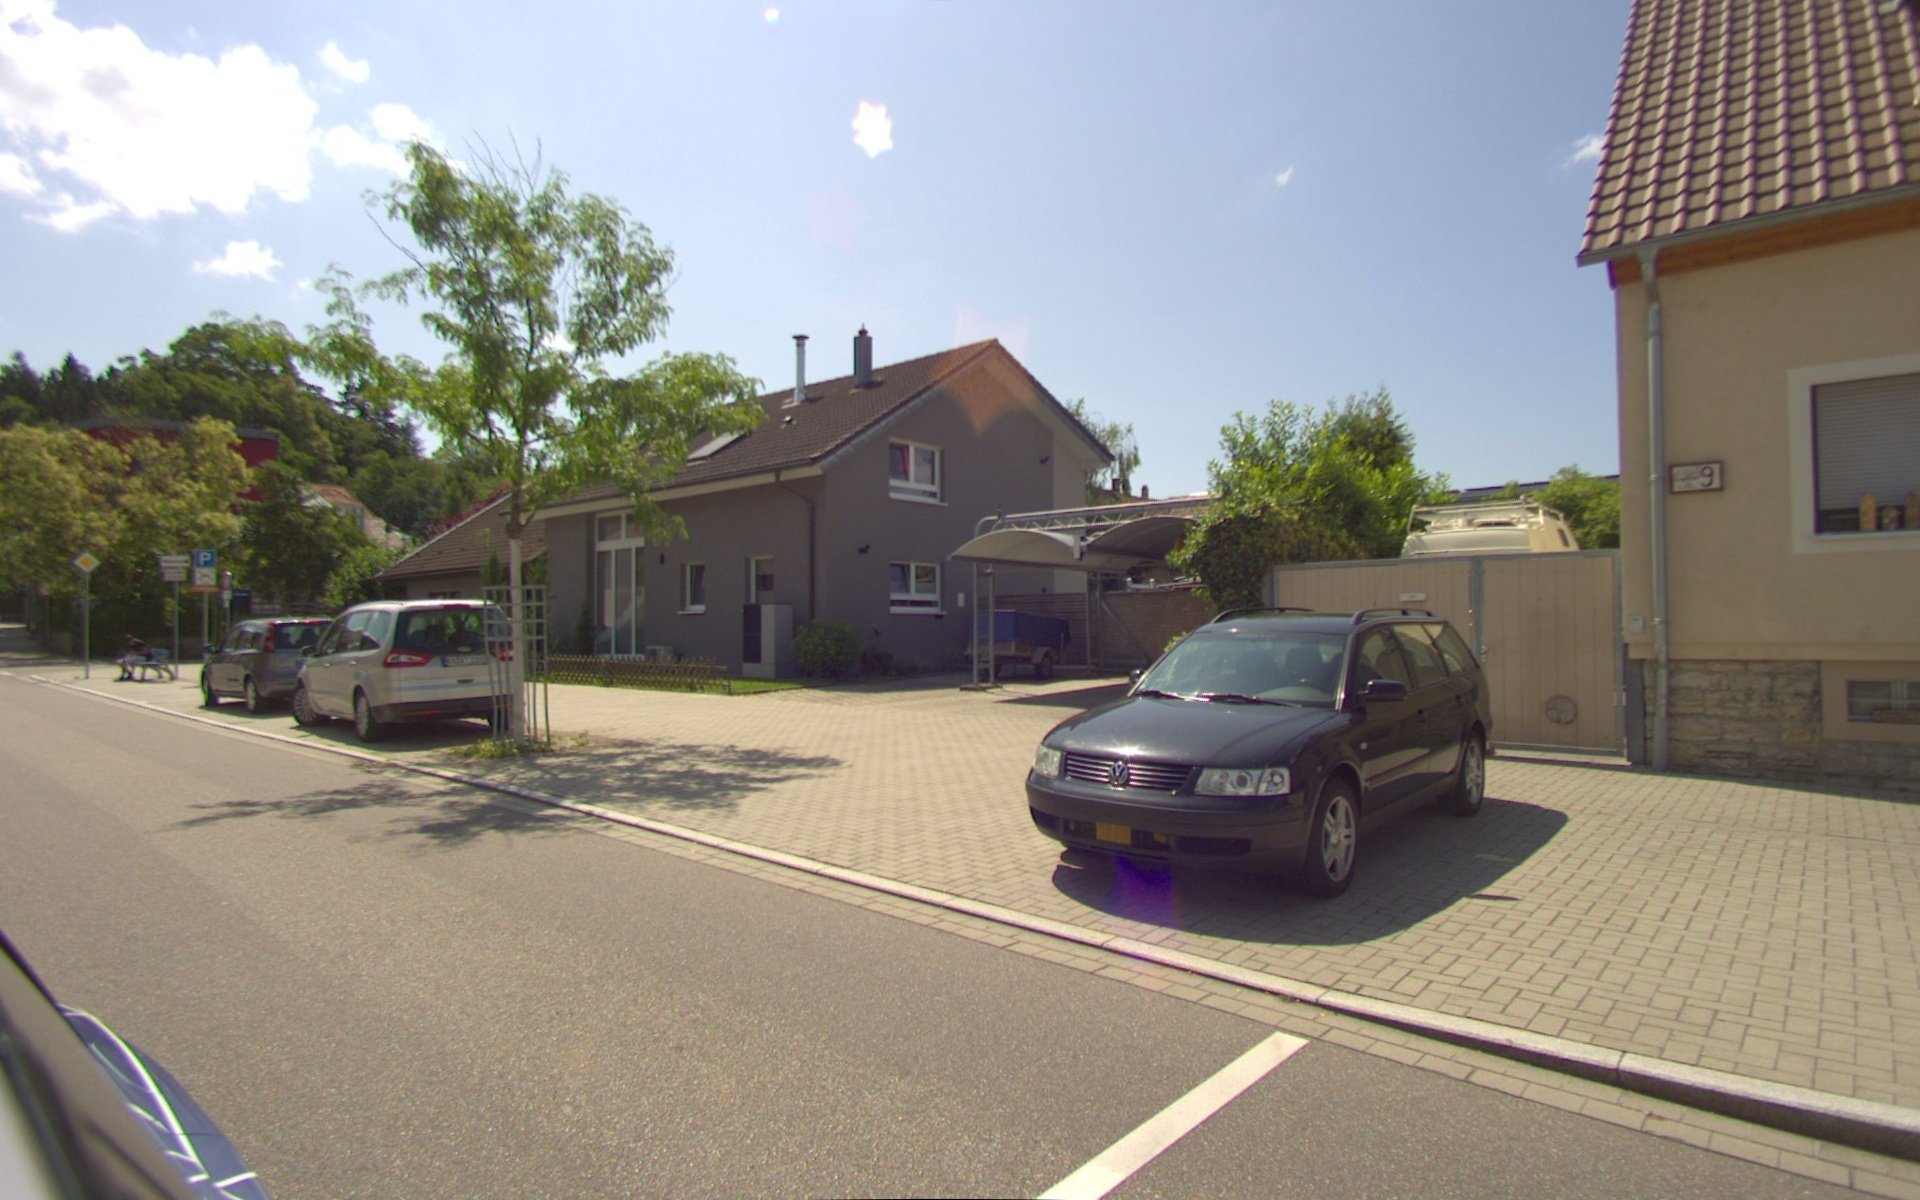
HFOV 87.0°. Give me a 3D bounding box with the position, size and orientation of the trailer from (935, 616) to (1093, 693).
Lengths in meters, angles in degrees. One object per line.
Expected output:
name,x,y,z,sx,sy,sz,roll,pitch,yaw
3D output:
trailer,1.194,1.055,20.842,1.582,1.399,3.600,-1,-1,35

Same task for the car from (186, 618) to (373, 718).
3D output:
car,-11.909,1.142,17.632,3.906,1.536,1.705,-3,-2,40

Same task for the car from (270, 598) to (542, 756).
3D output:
car,-7.560,0.946,13.568,4.686,1.761,1.819,-3,-2,43

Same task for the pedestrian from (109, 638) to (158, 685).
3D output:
pedestrian,-21.295,1.574,26.076,0.884,1.150,0.806,-1,-1,38

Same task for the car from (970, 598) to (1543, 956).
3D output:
car,2.256,0.798,6.682,1.901,1.528,4.539,-2,-2,41
